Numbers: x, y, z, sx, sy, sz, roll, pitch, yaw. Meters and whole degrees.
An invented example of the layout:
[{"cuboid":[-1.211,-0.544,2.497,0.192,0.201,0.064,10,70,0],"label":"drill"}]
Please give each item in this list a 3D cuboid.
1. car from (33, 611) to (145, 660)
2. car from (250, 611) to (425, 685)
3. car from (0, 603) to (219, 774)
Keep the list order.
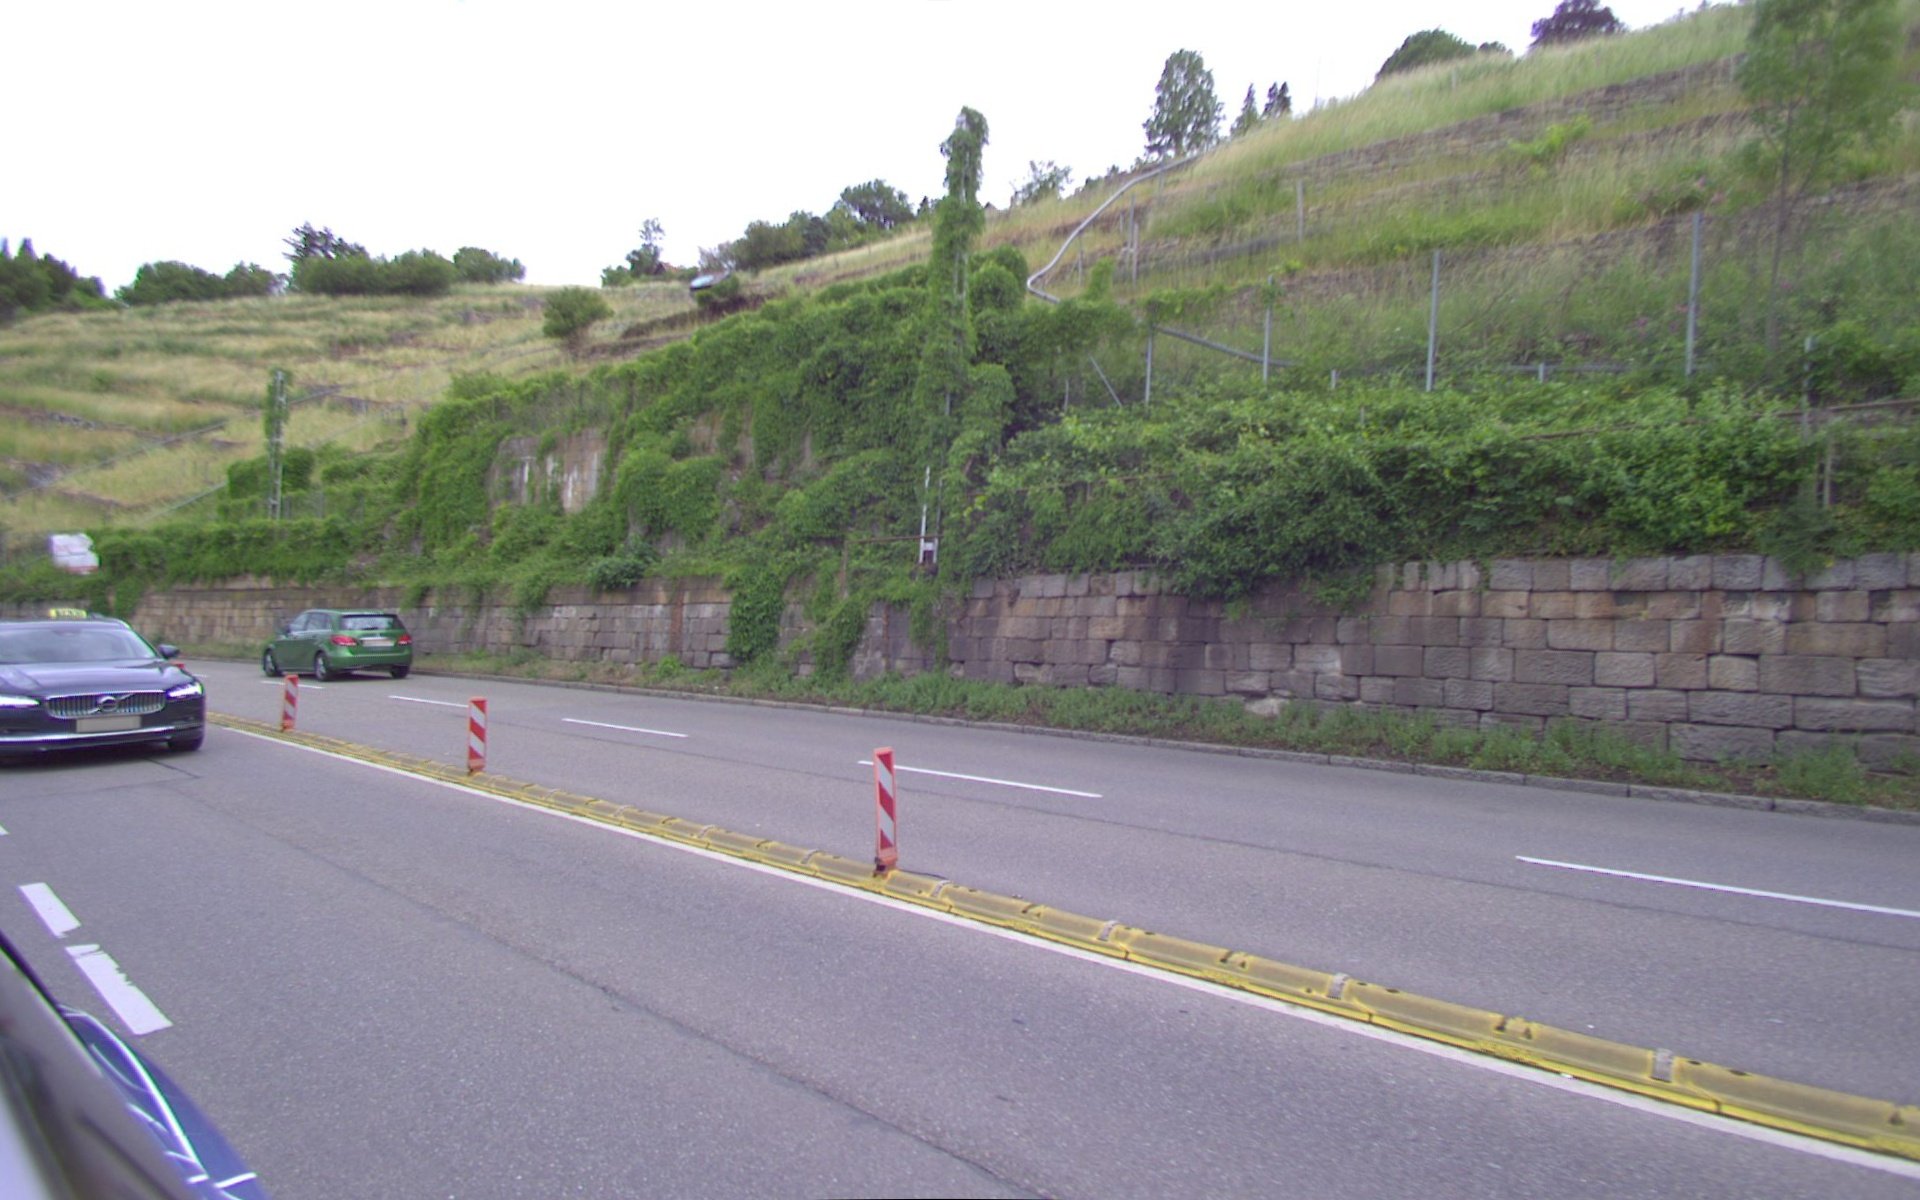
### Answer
[{"cuboid":[-27.413,1.071,31.827,3.989,1.453,1.692,-1,-1,34],"label":"car"},{"cuboid":[-14.092,1.020,22.850,4.324,1.527,1.835,-1,-1,35],"label":"car"},{"cuboid":[-9.728,0.837,10.947,4.139,1.505,1.876,-2,0,41],"label":"car"}]
